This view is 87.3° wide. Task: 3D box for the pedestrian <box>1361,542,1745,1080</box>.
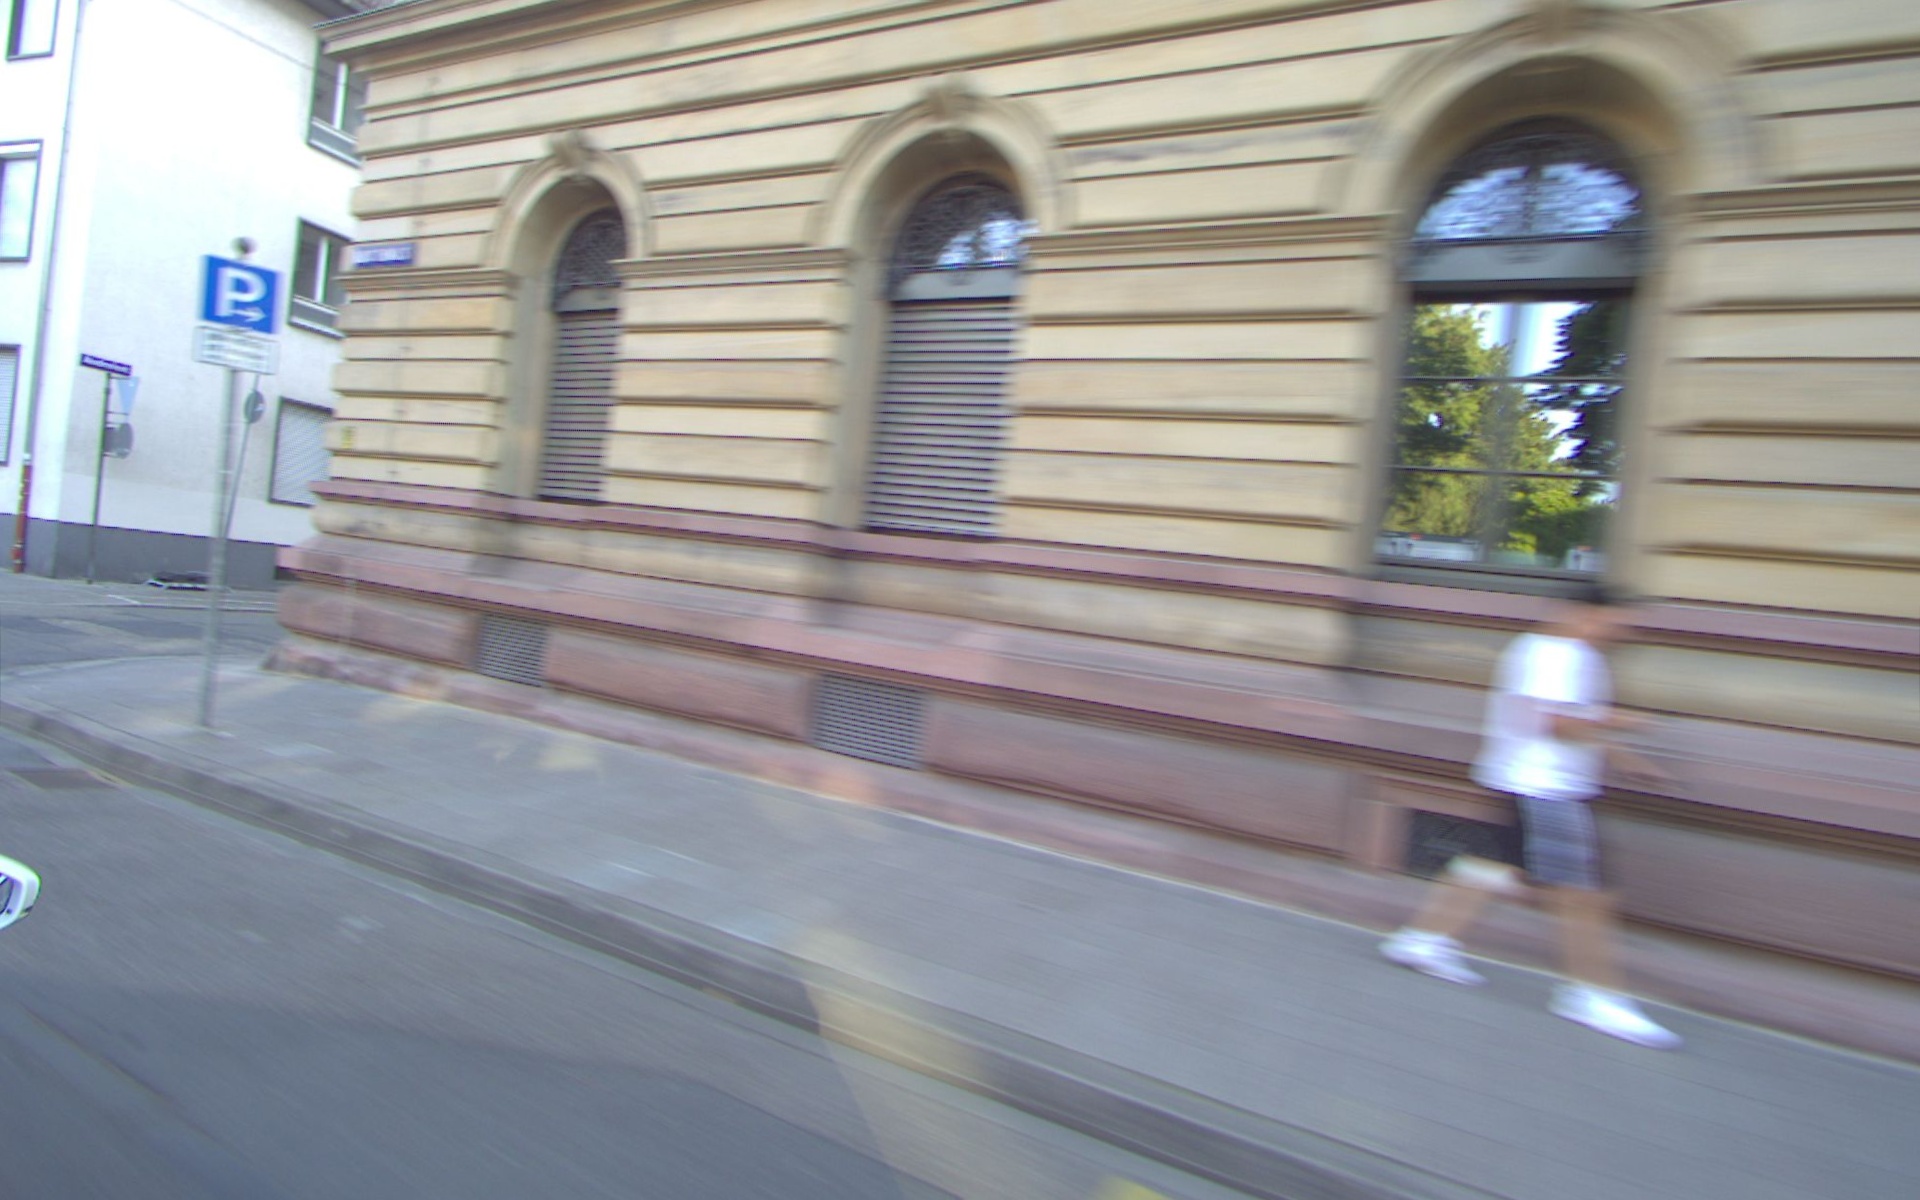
[{"bbox_3d":[2.359,0.748,4.079,1.021,1.786,0.818,8,0,32],"label":"pedestrian"}]
